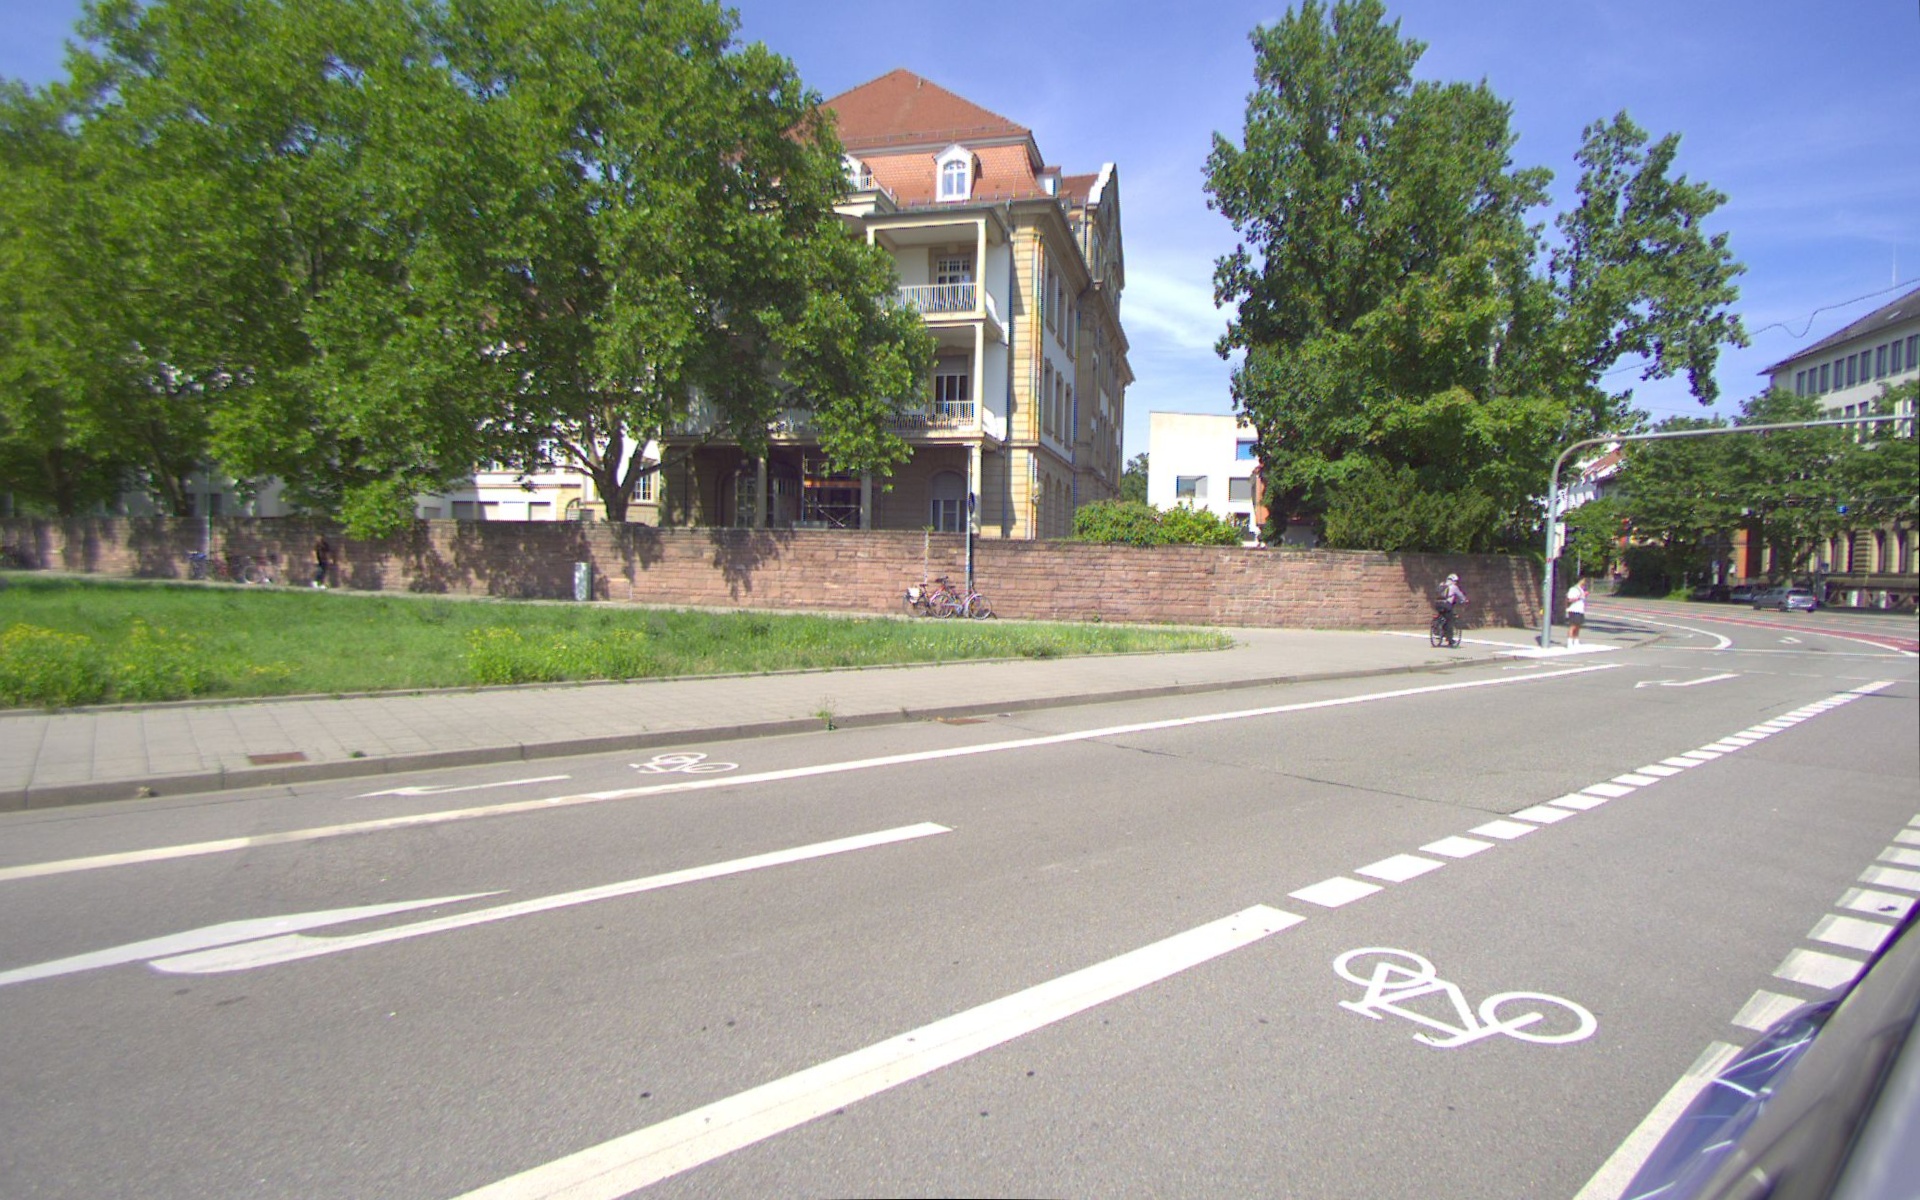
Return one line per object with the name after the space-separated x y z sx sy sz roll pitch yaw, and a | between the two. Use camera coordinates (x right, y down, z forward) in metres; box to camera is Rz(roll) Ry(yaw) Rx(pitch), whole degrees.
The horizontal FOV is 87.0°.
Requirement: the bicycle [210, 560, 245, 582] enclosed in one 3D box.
-25.768 -1.015 35.597 1.350 0.737 0.338 3 2 23 | bicycle

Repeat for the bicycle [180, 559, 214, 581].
-27.187 -1.083 36.068 1.350 0.737 0.338 3 2 23 | bicycle

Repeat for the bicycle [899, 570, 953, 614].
-0.901 -0.207 27.191 1.406 1.136 0.350 1 2 -27 | bicycle

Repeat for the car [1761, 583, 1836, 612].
50.285 -0.181 60.790 1.773 1.429 3.985 3 3 14 | car

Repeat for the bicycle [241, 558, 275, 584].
-24.271 -1.013 34.967 1.294 0.866 0.369 3 2 25 | bicycle

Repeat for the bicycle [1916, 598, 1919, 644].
26.045 0.611 26.804 0.682 1.237 2.159 3 2 34 | bicycle

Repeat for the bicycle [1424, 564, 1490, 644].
11.616 0.080 23.625 1.779 1.787 0.679 0 3 -41 | bicycle

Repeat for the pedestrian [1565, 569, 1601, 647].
15.707 0.177 25.534 0.649 1.897 0.788 4 3 31 | pedestrian

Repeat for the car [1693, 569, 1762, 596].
62.611 -1.460 82.617 3.941 2.038 1.992 2 2 14 | car

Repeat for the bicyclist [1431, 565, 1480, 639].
11.552 0.037 23.585 0.903 1.675 0.679 0 2 -41 | bicyclist

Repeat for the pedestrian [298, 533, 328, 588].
-21.277 -1.291 33.279 0.592 1.761 0.616 2 2 20 | pedestrian

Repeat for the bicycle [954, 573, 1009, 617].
0.579 -0.138 27.278 1.406 1.136 0.350 1 2 -6 | bicycle

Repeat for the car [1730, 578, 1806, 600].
61.469 -0.824 77.075 3.941 1.482 1.992 2 2 14 | car
